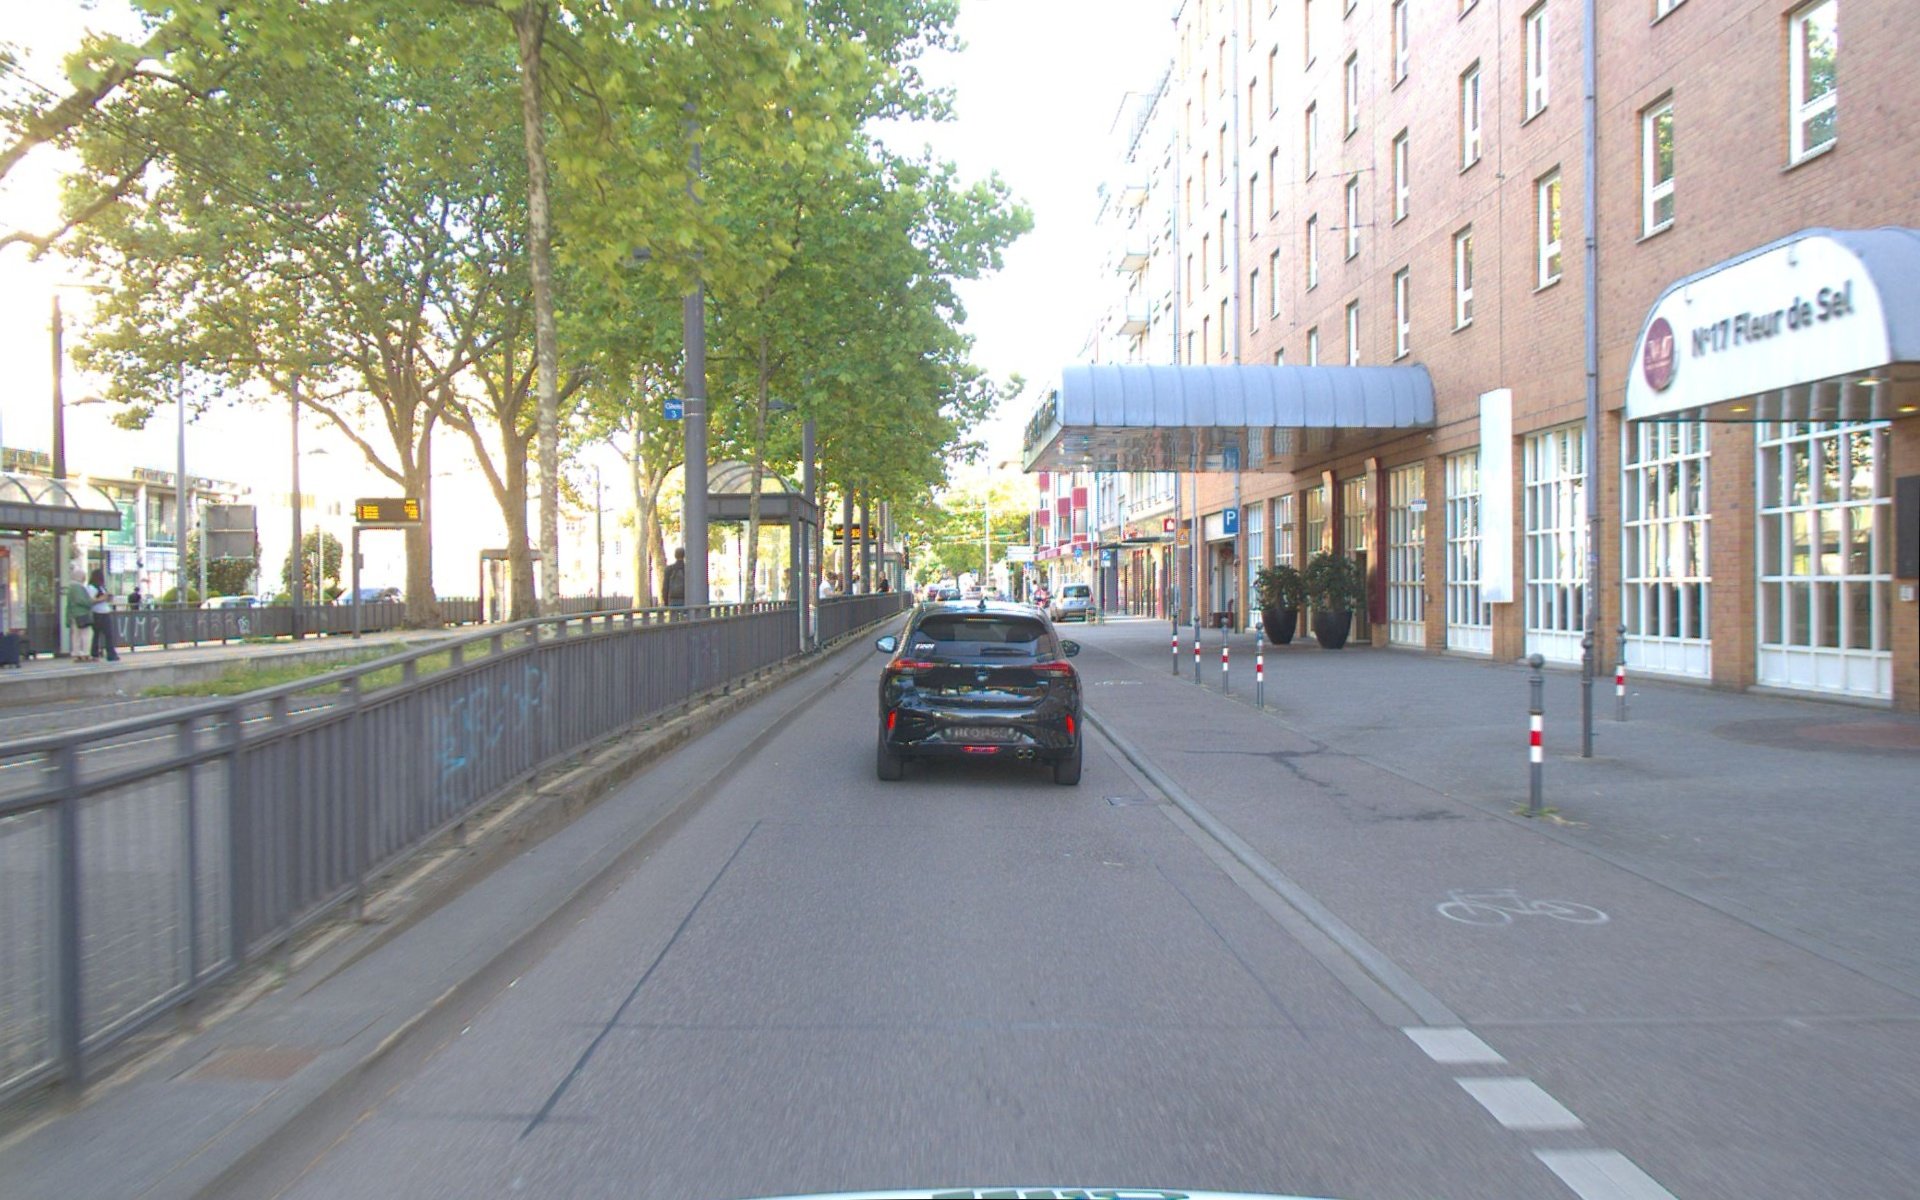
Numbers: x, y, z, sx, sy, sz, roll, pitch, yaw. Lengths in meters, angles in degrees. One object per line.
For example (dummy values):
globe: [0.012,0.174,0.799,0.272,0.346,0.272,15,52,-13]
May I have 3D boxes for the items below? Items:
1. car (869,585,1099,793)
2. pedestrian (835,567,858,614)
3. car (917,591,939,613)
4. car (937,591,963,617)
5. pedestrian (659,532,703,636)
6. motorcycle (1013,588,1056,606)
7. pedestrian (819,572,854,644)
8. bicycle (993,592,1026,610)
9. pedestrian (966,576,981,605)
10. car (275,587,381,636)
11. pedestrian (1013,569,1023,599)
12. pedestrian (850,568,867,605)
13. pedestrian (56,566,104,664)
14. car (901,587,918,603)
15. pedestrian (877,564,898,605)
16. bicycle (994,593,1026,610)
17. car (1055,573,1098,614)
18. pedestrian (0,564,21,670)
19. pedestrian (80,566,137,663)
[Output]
car: [0.332,0.689,14.506,1.636,1.528,3.693,2,0,6]
pedestrian: [-3.402,-0.279,49.609,0.591,1.389,0.486,-2,0,-1]
car: [-2.349,0.124,121.566,1.581,1.528,3.690,0,1,-1]
car: [-0.632,0.242,103.135,1.581,1.528,3.690,0,1,-1]
pedestrian: [-4.675,-0.263,27.732,0.591,1.709,0.486,-2,0,-1]
motorcycle: [4.703,-0.201,104.899,1.291,1.077,3.066,-1,1,-30]
pedestrian: [-2.529,0.163,33.963,0.708,1.470,0.626,0,0,-4]
bicycle: [3.498,0.067,116.552,2.306,1.255,0.684,0,0,1]
pedestrian: [1.372,-0.961,170.198,1.136,2.922,0.909,-1,0,-34]
car: [-19.396,0.338,50.928,1.631,1.431,4.001,0,0,2]
pedestrian: [5.712,-1.567,162.547,0.898,2.922,1.150,0,0,-2]
pedestrian: [-3.924,-0.521,63.990,0.591,1.389,0.486,-2,0,-1]
pedestrian: [-14.611,0.241,27.477,0.490,1.600,0.494,0,2,3]
car: [-4.924,-0.538,161.087,1.581,1.528,3.690,0,1,-1]
pedestrian: [-2.600,-0.554,59.143,0.708,1.470,0.626,0,0,-4]
bicycle: [3.583,0.103,118.059,2.306,1.255,0.684,0,0,1]
car: [4.969,-0.289,70.907,1.637,1.681,3.691,0,1,0]
pedestrian: [-14.700,0.258,25.064,0.477,1.600,0.668,1,2,42]
pedestrian: [-14.439,0.238,28.056,0.551,1.600,0.640,0,2,12]
